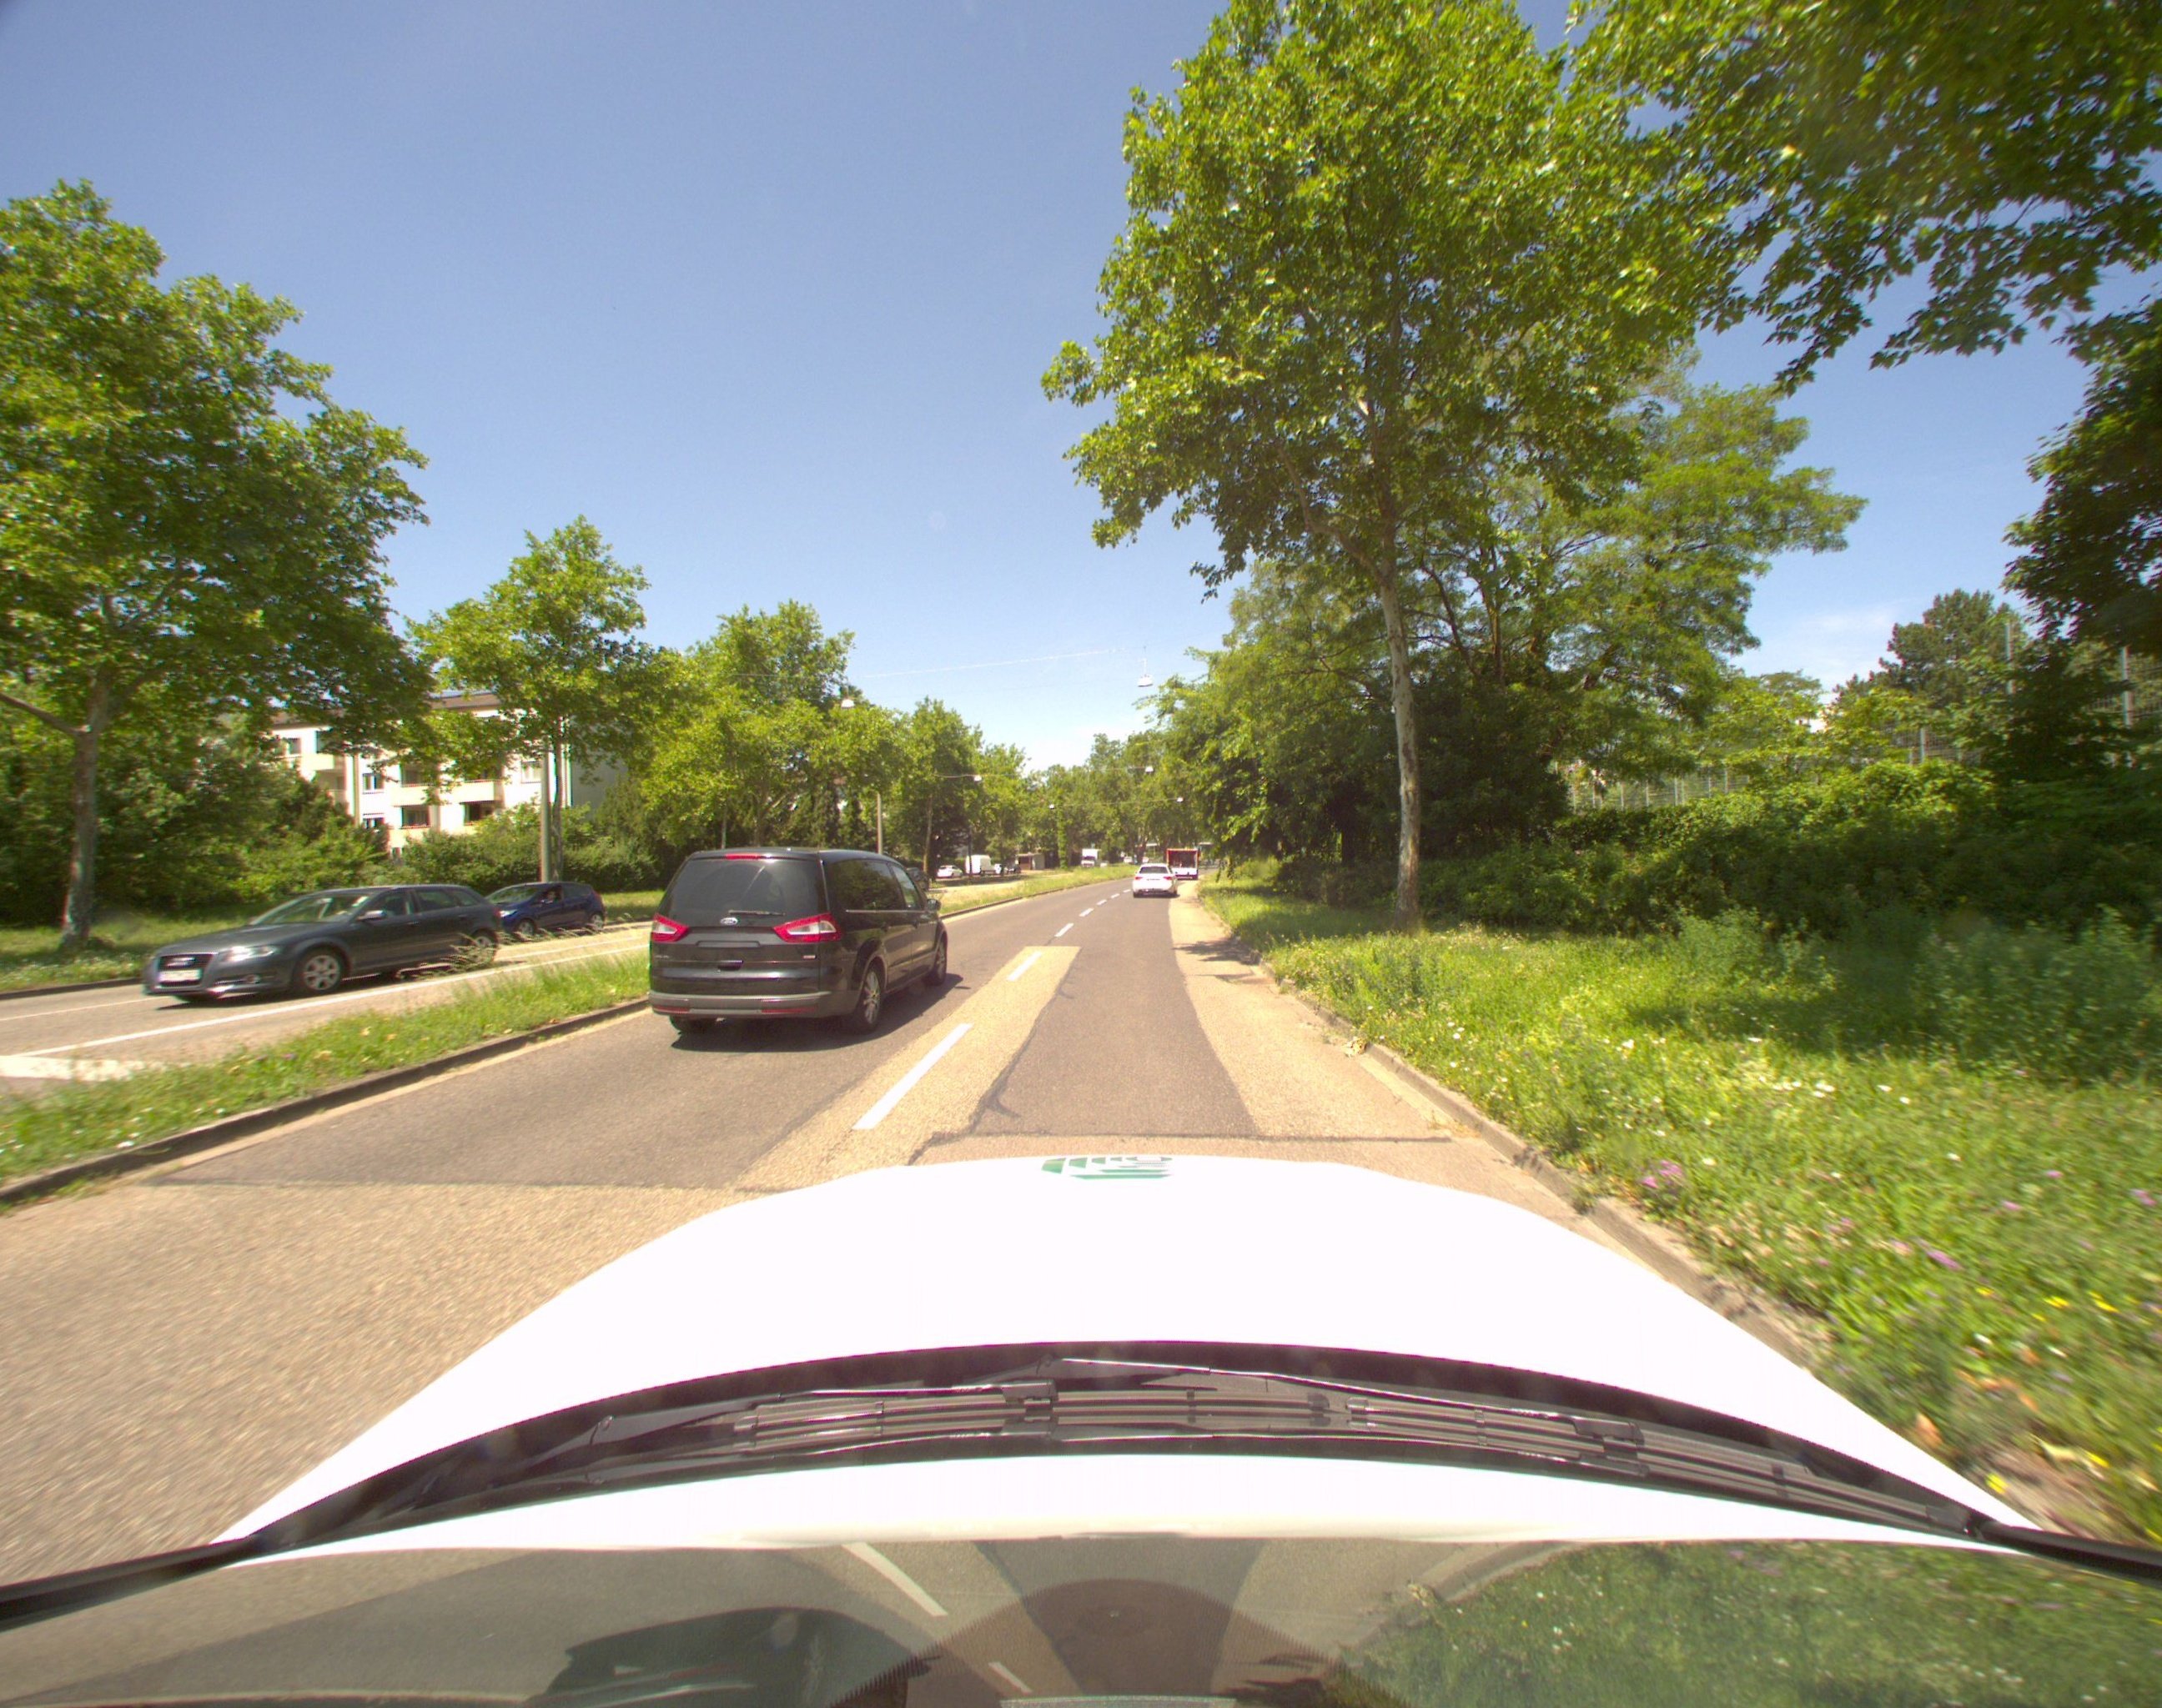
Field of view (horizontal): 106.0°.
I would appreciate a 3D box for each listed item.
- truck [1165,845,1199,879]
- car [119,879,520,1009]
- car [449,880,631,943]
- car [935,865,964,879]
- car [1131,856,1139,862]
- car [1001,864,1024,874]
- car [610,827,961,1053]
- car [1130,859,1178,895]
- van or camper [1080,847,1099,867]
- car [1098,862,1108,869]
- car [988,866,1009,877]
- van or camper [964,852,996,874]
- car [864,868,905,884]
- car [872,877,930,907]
[{"bbox_3d":[8.046,0.588,64.611,2.497,2.559,7.619,0,0,7],"label":"truck"},{"bbox_3d":[-10.572,1.141,11.844,1.729,1.395,4.181,-3,-1,2],"label":"car"},{"bbox_3d":[-13.648,1.402,20.843,1.710,1.278,3.877,-2,0,8],"label":"car"},{"bbox_3d":[-15.012,2.052,92.977,1.869,1.474,4.013,-2,-1,12],"label":"car"},{"bbox_3d":[12.587,1.226,191.248,1.764,1.332,3.662,-2,0,3],"label":"car"},{"bbox_3d":[-9.602,2.091,114.143,1.815,1.391,3.963,-2,0,16],"label":"car"},{"bbox_3d":[-2.673,0.693,8.721,1.846,1.756,4.652,-1,0,3],"label":"car"},{"bbox_3d":[3.160,0.951,34.757,1.752,1.445,3.625,0,-1,9],"label":"car"},{"bbox_3d":[1.564,0.507,141.489,2.647,3.331,5.511,-1,0,7],"label":"van or camper"},{"bbox_3d":[4.216,2.126,156.268,1.906,1.210,4.338,-2,0,3],"label":"car"},{"bbox_3d":[-10.946,2.332,108.369,1.682,1.284,3.815,-1,0,11],"label":"car"},{"bbox_3d":[-12.621,1.140,102.044,2.167,2.587,5.328,-2,0,13],"label":"van or camper"},{"bbox_3d":[-18.710,2.065,77.645,1.866,1.393,4.019,-2,0,19],"label":"car"},{"bbox_3d":[-10.552,2.220,48.005,1.802,1.507,4.603,-2,0,8],"label":"car"}]
